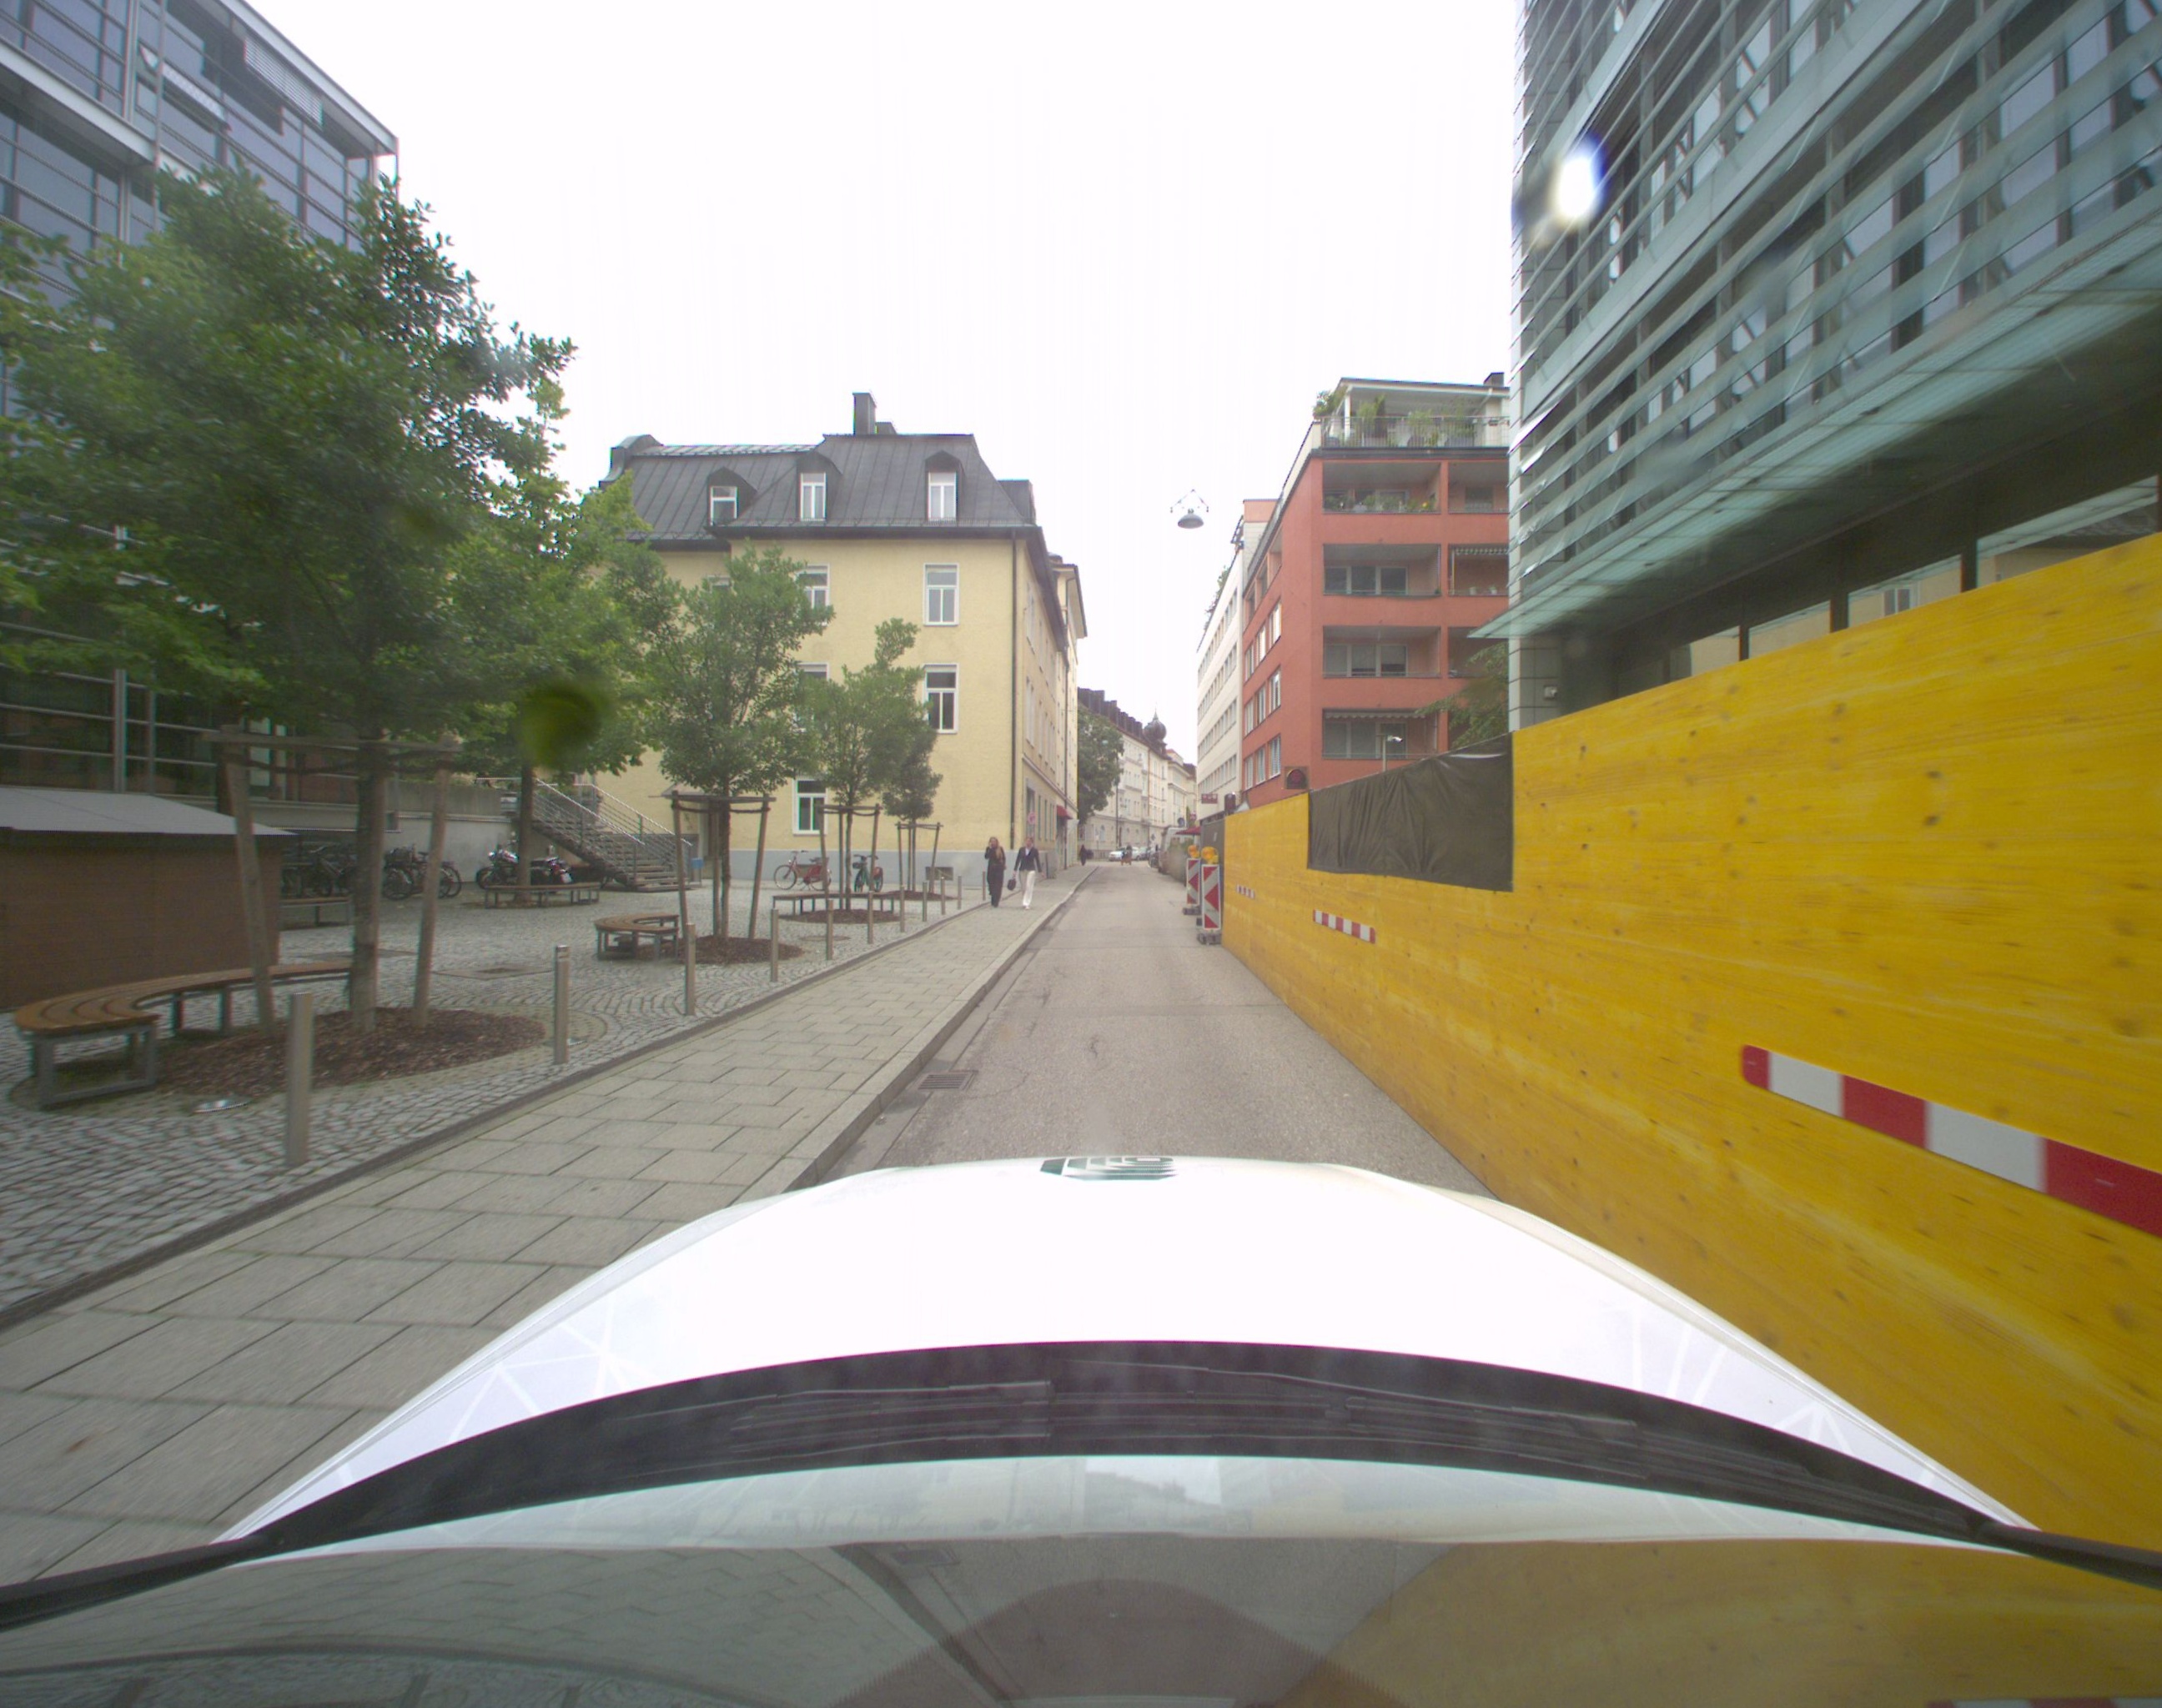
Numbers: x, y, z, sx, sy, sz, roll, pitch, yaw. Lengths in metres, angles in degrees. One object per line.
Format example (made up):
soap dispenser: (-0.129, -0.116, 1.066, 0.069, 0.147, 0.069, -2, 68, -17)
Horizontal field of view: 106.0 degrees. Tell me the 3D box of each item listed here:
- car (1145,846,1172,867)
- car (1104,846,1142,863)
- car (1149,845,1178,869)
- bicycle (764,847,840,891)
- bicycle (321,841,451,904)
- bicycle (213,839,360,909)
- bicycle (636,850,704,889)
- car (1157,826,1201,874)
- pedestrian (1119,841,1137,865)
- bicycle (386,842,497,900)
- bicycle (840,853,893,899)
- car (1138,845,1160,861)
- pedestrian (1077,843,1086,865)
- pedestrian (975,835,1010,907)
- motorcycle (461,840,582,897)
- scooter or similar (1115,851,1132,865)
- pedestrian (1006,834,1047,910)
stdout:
car: (6.118, 0.207, 64.738, 1.804, 1.563, 4.276, 2, 0, 2)
car: (4.197, 0.065, 80.632, 1.675, 1.574, 4.025, 1, 0, 38)
car: (6.056, 0.203, 60.076, 1.781, 1.625, 4.274, 1, 0, 2)
bicycle: (-8.101, 0.422, 23.637, 2.031, 1.197, 0.571, 1, 0, 9)
bicycle: (-13.707, 0.345, 16.071, 2.032, 1.144, 0.849, 2, 0, 12)
bicycle: (-14.133, 0.340, 14.504, 2.032, 1.144, 0.849, 2, 0, 12)
bicycle: (-11.844, 0.437, 23.471, 1.647, 1.069, 0.599, 2, 0, 6)
car: (5.521, -0.218, 46.368, 1.986, 2.536, 4.977, 1, 0, 2)
pedestrian: (3.984, -0.084, 69.269, 1.124, 2.013, 1.416, 2, 0, 18)
bicycle: (-13.521, 0.350, 17.227, 2.032, 1.144, 0.642, 2, 0, 12)
bicycle: (-5.684, 0.554, 21.708, 0.507, 1.144, 2.058, 2, 0, 10)
car: (8.502, -0.120, 100.944, 2.006, 1.904, 4.307, 0, 0, 15)
pedestrian: (0.028, -0.012, 61.882, 0.632, 1.675, 0.518, 1, 0, 2)
pedestrian: (-2.084, 0.402, 19.225, 0.668, 1.648, 0.762, 1, 0, 1)
motorcycle: (-13.223, 0.331, 19.251, 2.486, 1.244, 0.760, 1, 0, 9)
scooter or similar: (3.563, 0.356, 68.032, 1.059, 1.127, 1.166, 2, 0, 18)
pedestrian: (-1.276, 0.411, 19.050, 0.836, 1.700, 0.803, 1, 0, 2)
